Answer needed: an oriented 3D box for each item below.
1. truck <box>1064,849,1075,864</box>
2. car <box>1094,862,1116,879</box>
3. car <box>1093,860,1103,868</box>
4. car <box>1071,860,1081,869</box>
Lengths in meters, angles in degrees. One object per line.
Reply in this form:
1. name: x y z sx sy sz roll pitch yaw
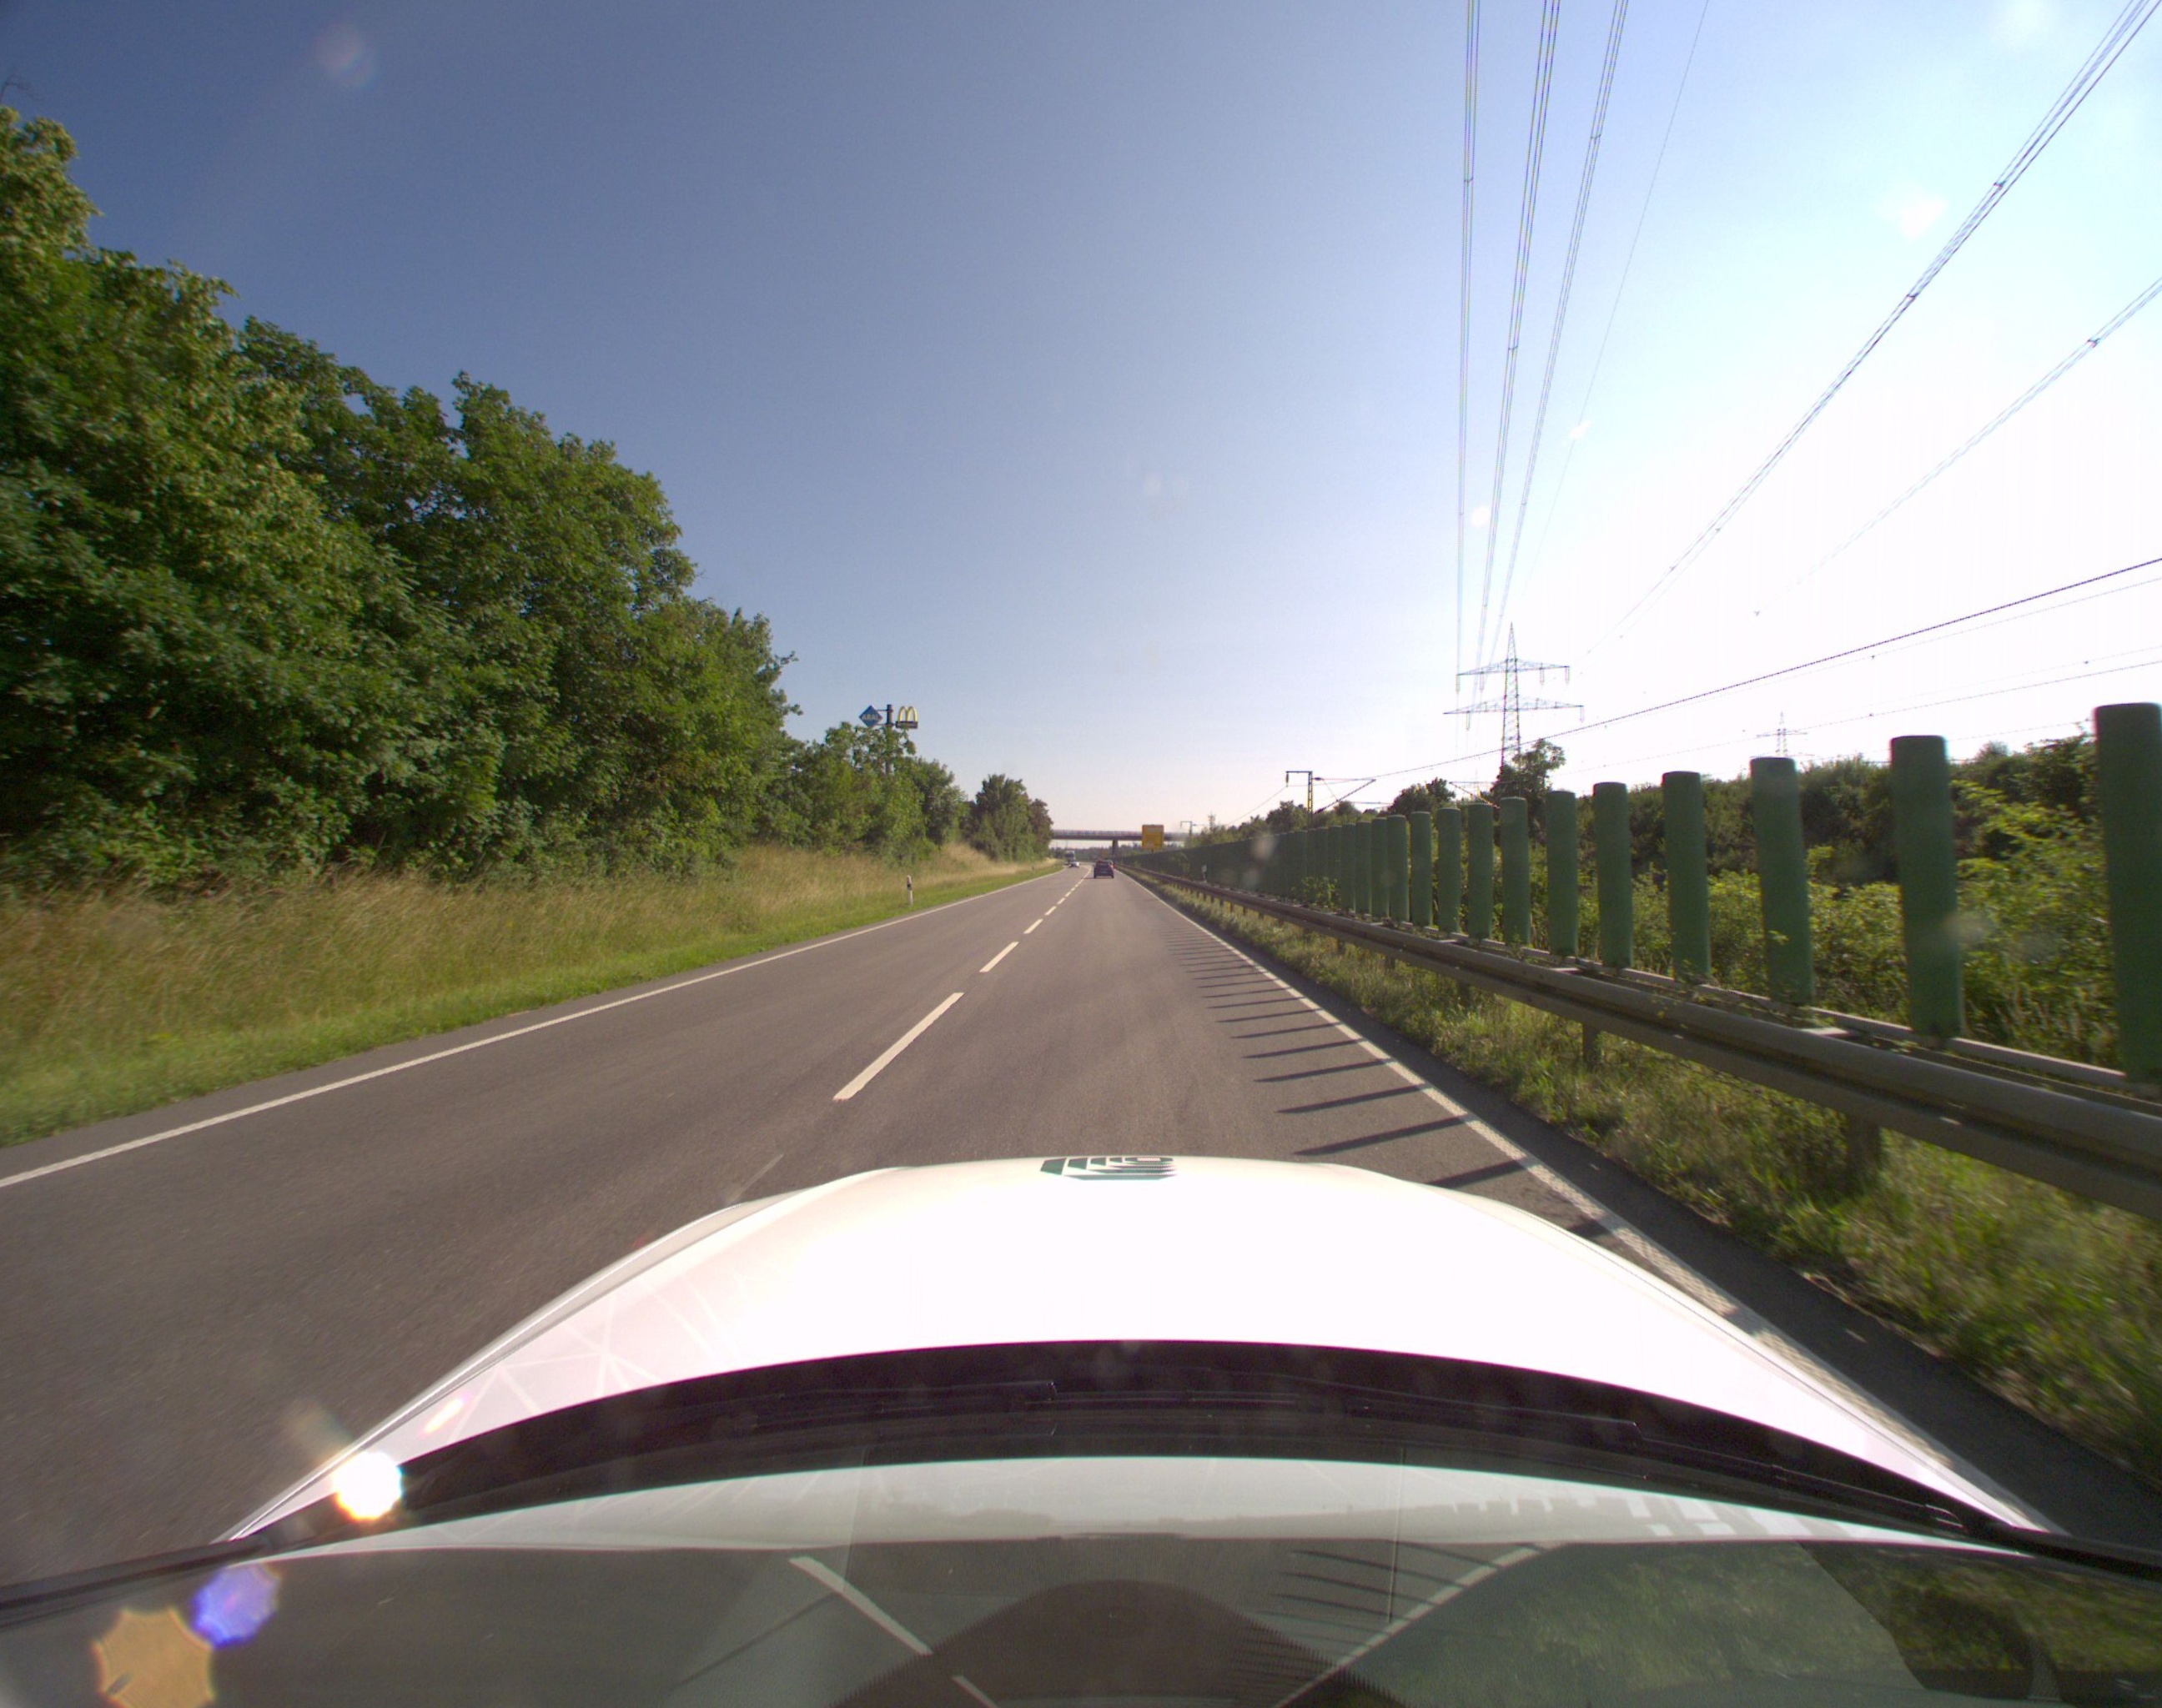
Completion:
1. truck: -3.027 0.653 216.941 2.551 3.689 10.486 0 0 0
2. car: 1.945 1.331 66.533 1.658 1.261 3.999 0 -1 0
3. car: 3.339 1.893 157.464 1.889 1.418 3.999 0 -1 0
4. car: -0.886 1.843 146.928 1.790 1.593 4.000 0 -1 0
